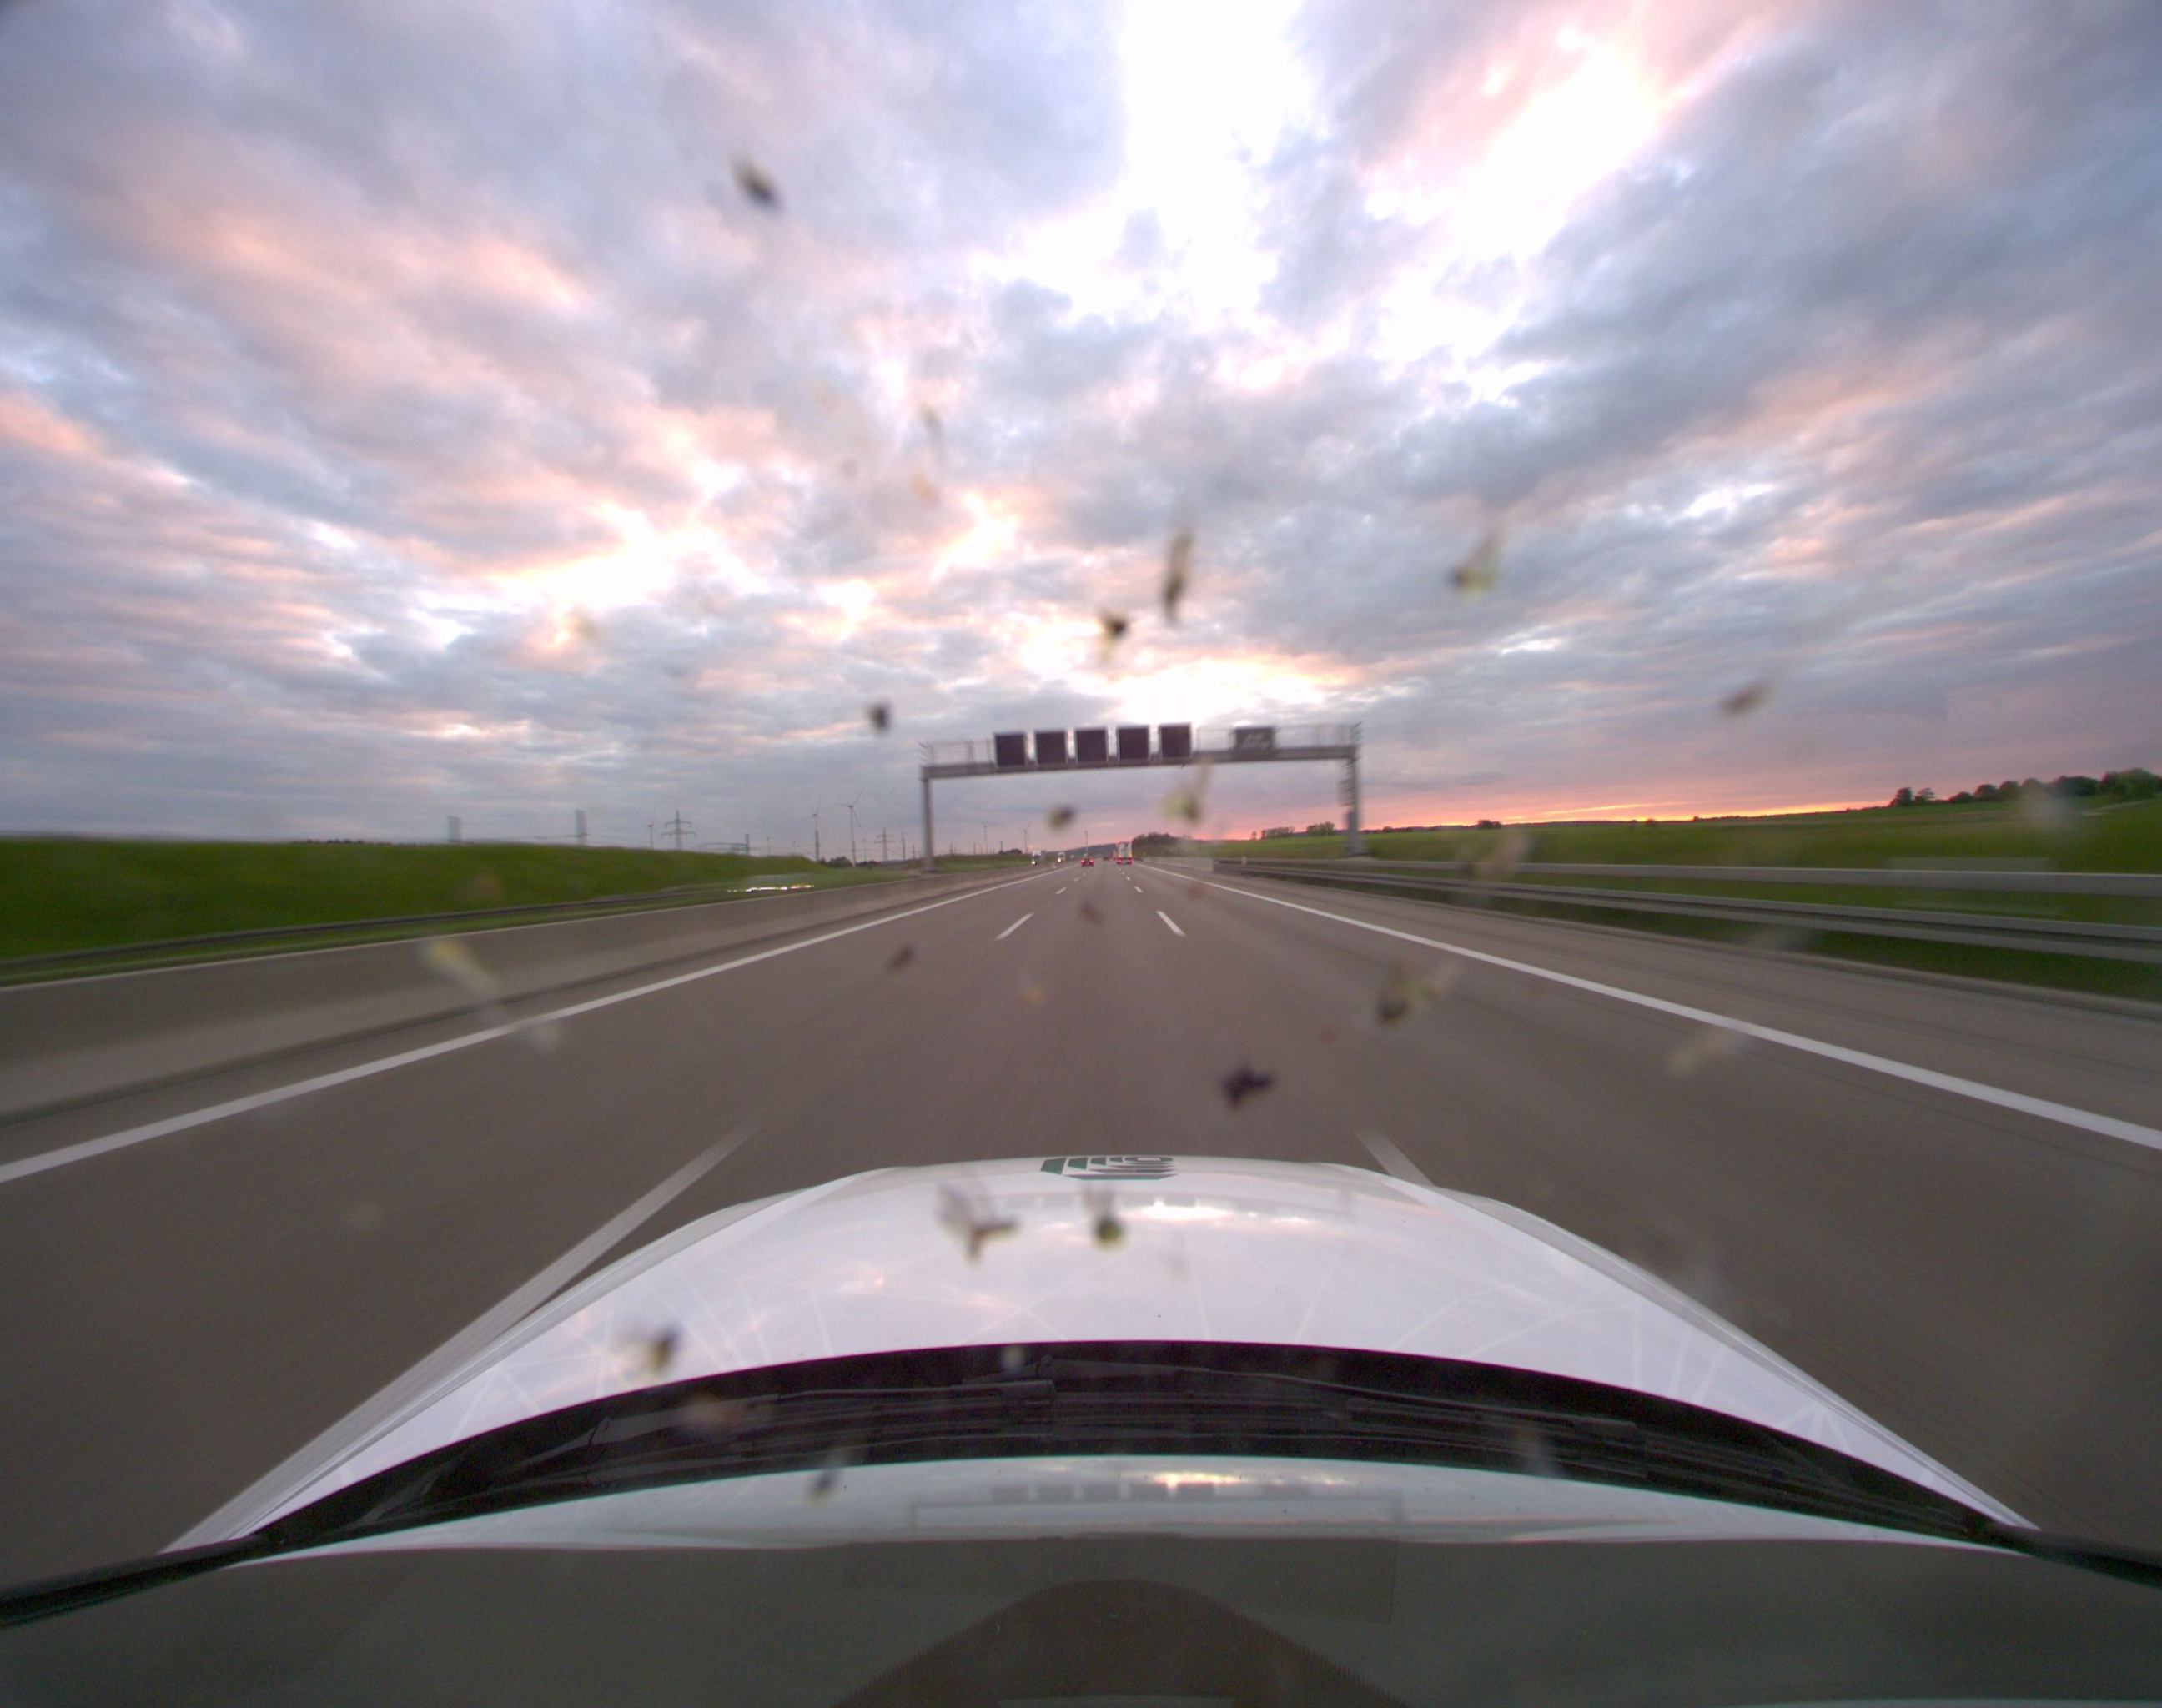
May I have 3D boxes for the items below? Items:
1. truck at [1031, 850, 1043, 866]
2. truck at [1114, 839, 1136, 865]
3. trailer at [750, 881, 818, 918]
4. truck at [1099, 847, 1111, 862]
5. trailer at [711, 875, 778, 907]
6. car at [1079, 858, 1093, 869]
[{"bbox_3d":[-12.463,1.181,232.214,2.807,4.352,6.742,-1,0,2],"label":"truck"},{"bbox_3d":[8.124,-0.290,151.773,3.662,4.565,10.983,-1,0,1],"label":"truck"},{"bbox_3d":[-14.450,2.188,39.837,1.678,1.552,3.931,-2,0,2],"label":"trailer"},{"bbox_3d":[7.854,0.143,263.265,3.634,4.414,8.638,-2,0,1],"label":"truck"},{"bbox_3d":[-18.196,1.978,44.231,1.711,1.464,4.003,-3,0,3],"label":"trailer"},{"bbox_3d":[0.805,1.374,120.057,1.981,1.429,4.000,-3,0,1],"label":"car"}]
